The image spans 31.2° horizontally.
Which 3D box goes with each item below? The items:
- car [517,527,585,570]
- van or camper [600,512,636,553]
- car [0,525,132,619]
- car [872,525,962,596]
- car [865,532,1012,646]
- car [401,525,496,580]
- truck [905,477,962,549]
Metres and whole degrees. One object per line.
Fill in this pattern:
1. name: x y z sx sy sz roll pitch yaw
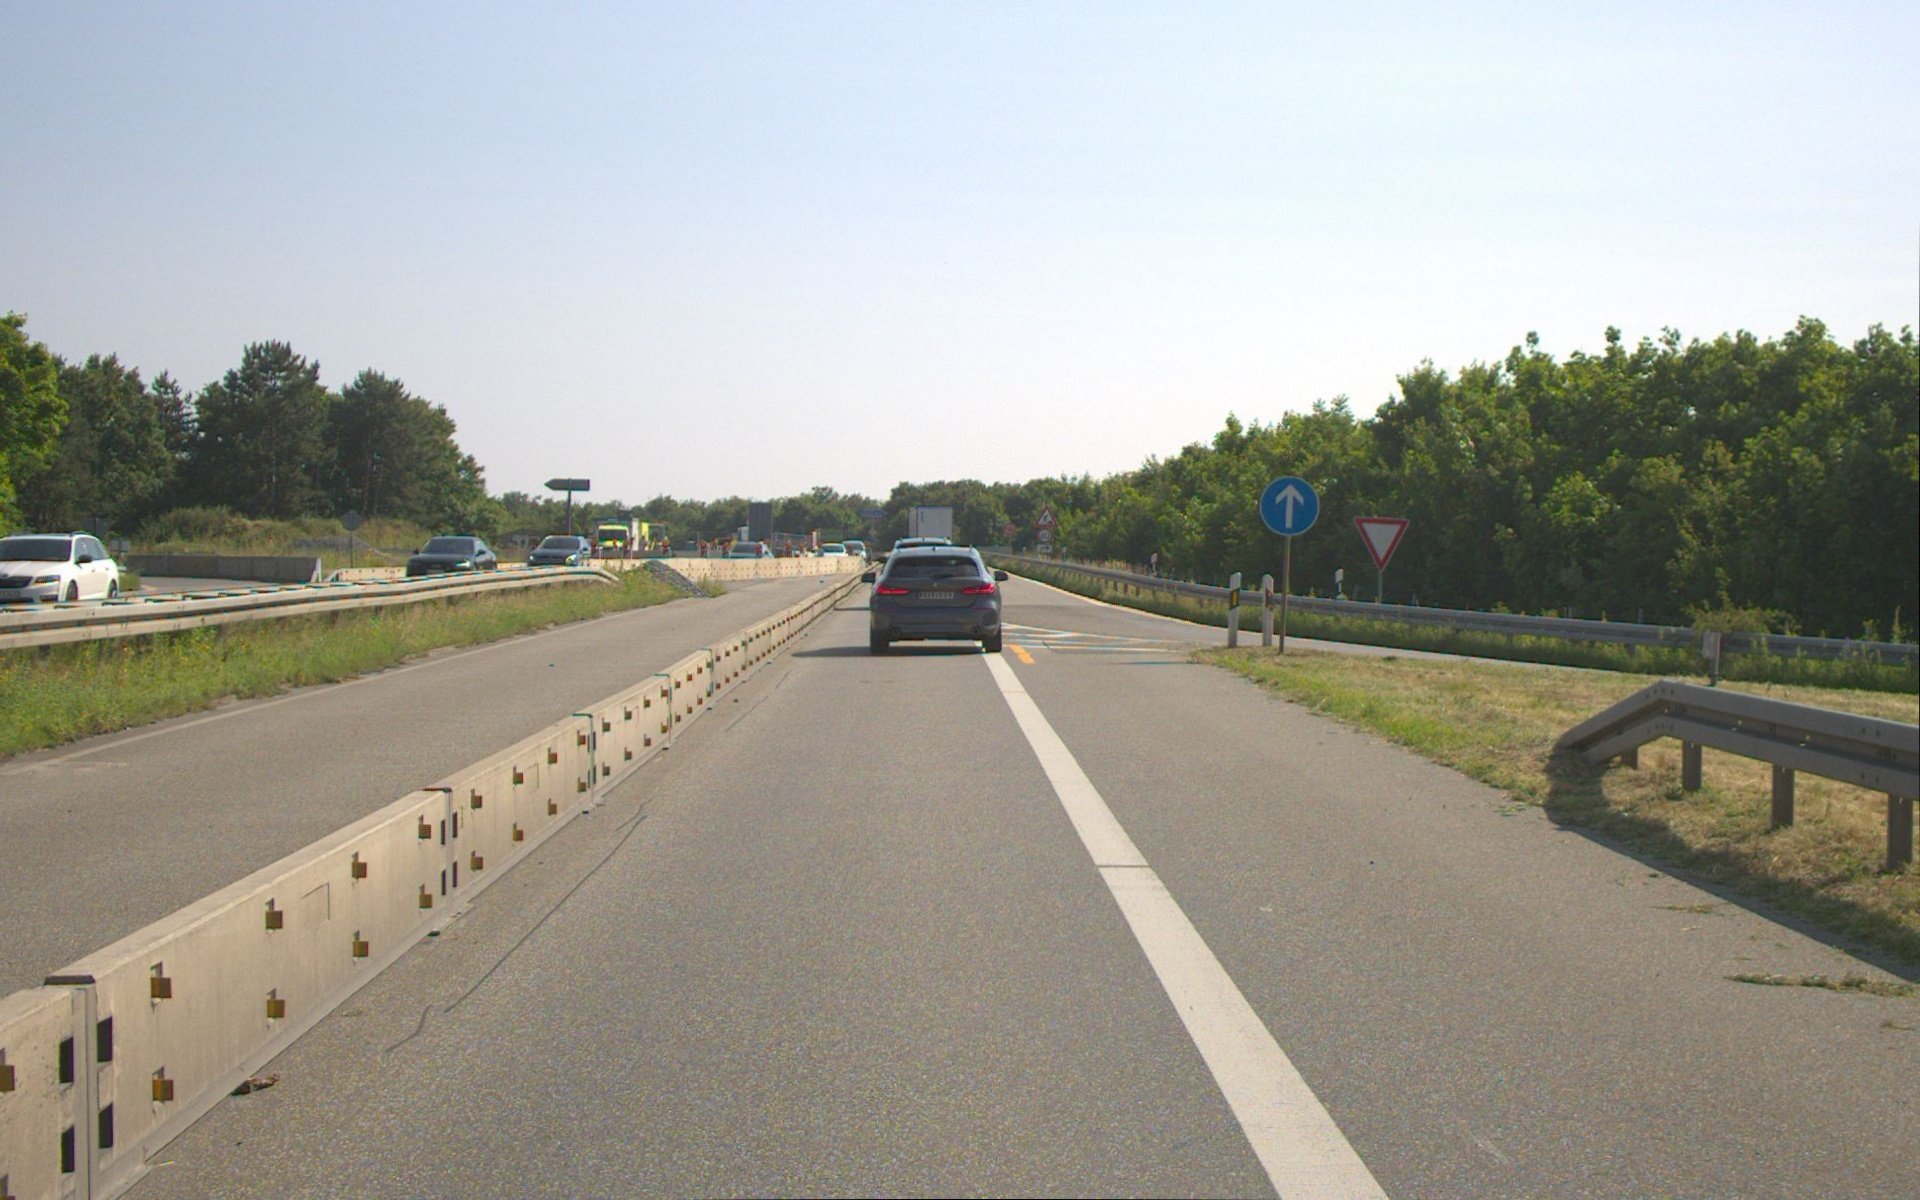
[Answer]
1. car: -14.126 -1.799 119.020 1.797 1.429 4.592 0 1 0
2. van or camper: -20.513 -4.043 205.982 1.993 2.369 6.203 -2 1 -6
3. car: -15.246 -0.505 57.383 1.760 1.465 4.795 1 1 -1
4. car: -0.964 -0.924 78.797 1.993 1.561 4.000 1 1 0
5. car: -0.339 -0.188 47.429 1.920 1.488 4.001 -1 1 -2
6. car: -14.394 -1.358 96.917 1.816 1.483 5.023 1 1 1
7. truck: -1.970 -6.145 244.001 3.761 4.894 14.138 1 1 -1
